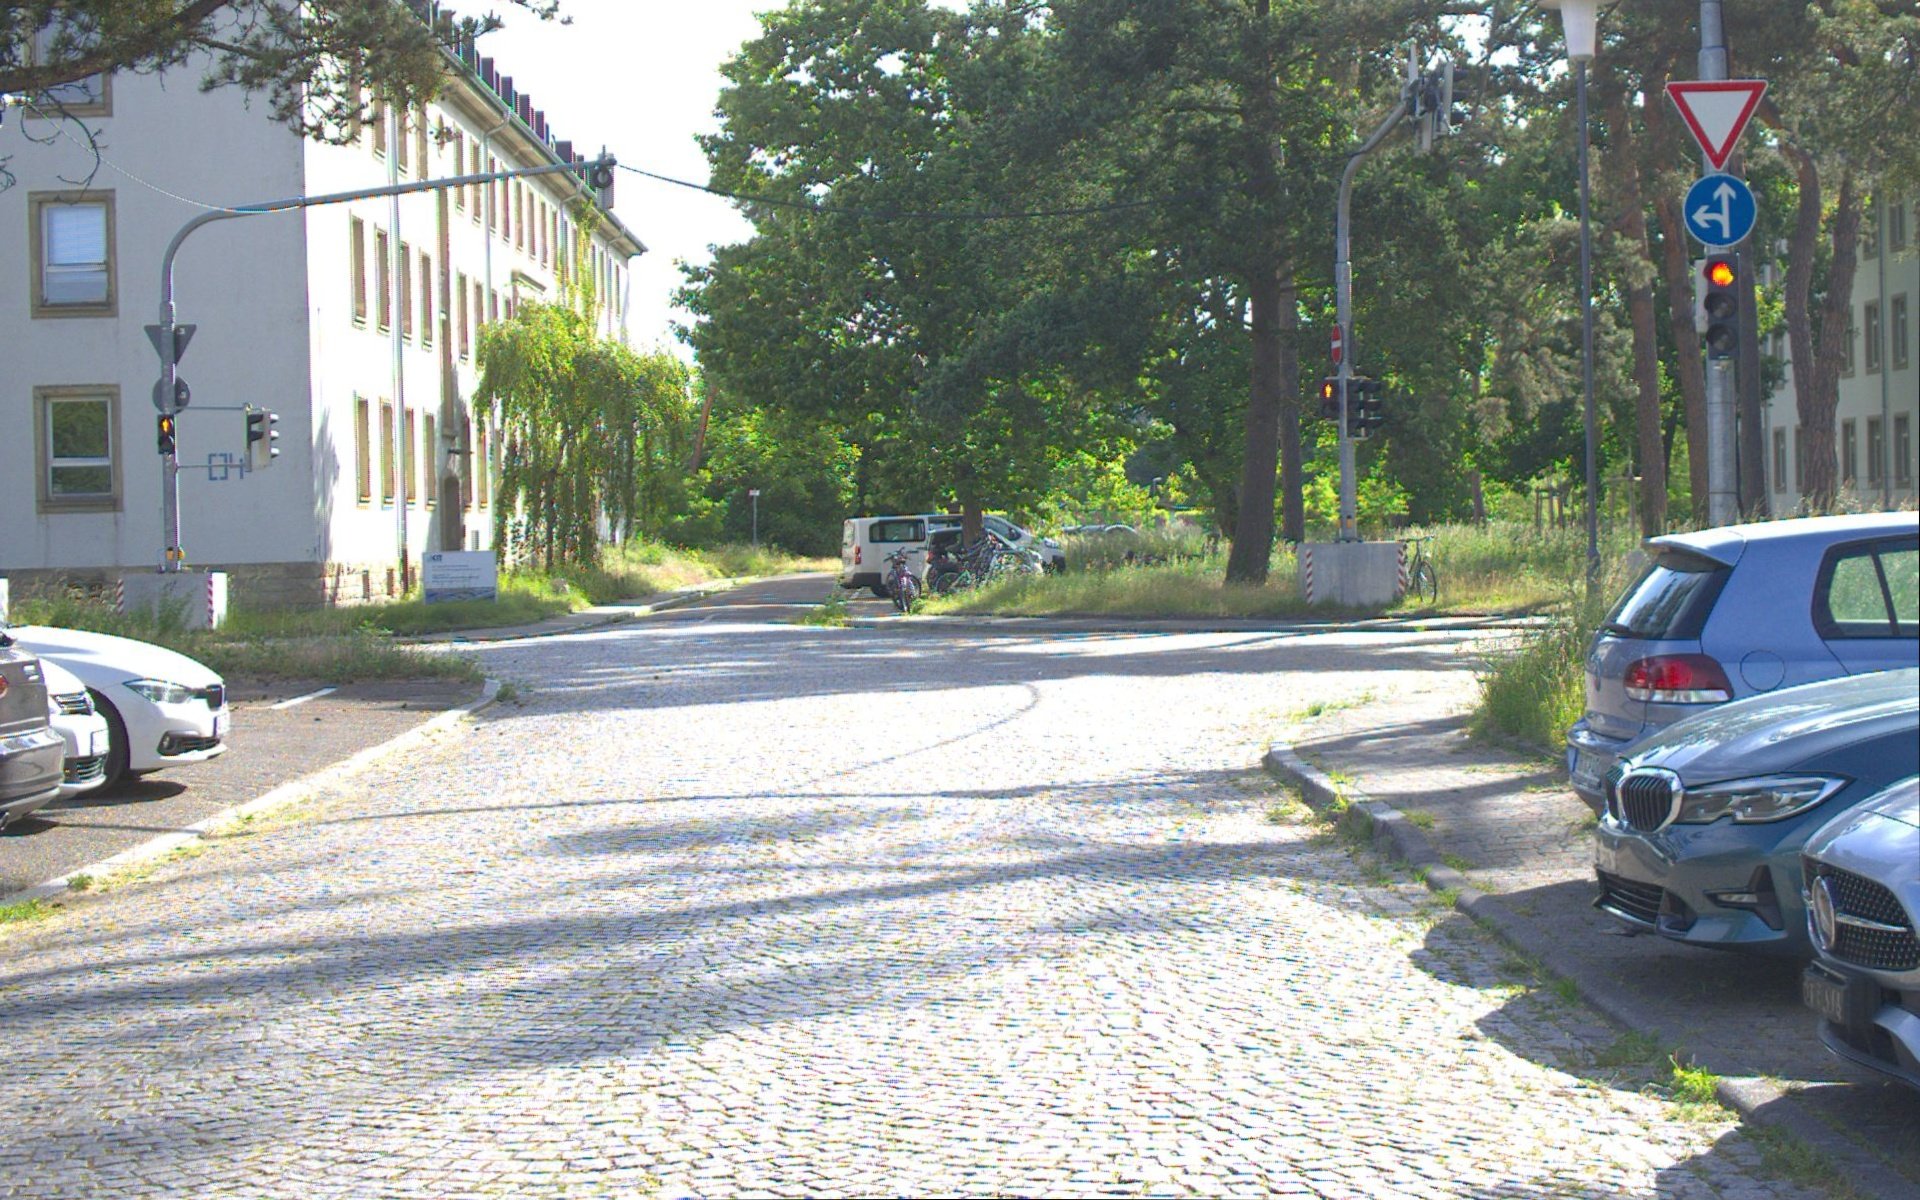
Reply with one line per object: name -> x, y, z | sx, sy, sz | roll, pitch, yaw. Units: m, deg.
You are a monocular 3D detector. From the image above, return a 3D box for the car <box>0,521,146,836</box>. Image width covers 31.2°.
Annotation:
car -> -6.617, 0.353, 18.485 | 4.080, 1.588, 1.886 | 1, 2, -3

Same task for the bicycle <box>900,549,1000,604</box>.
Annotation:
bicycle -> -0.187, -0.456, 66.183 | 1.837, 1.006, 0.636 | 1, 0, -8

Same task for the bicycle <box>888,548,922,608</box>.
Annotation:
bicycle -> -0.949, -0.388, 59.106 | 0.467, 1.006, 1.586 | 1, 1, -4

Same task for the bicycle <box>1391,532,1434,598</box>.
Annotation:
bicycle -> 6.654, -0.516, 50.616 | 0.300, 0.957, 1.586 | 1, 1, -4

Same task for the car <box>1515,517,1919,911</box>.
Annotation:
car -> 4.334, 0.368, 13.849 | 3.882, 1.410, 1.637 | -2, 2, 0

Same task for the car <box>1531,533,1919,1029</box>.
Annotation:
car -> 4.278, 0.456, 11.070 | 4.559, 1.410, 1.637 | -2, 2, 0

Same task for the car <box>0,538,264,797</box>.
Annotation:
car -> -6.556, 0.355, 20.866 | 4.333, 1.463, 1.831 | 1, 2, -3

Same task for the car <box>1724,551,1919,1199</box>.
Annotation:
car -> 4.294, 0.527, 8.354 | 4.432, 1.410, 1.781 | -2, 2, 0

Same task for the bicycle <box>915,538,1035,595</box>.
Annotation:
bicycle -> 0.272, -0.611, 62.713 | 2.109, 1.006, 0.621 | 1, 0, -8

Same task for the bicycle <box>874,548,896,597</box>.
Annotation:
bicycle -> -1.580, -0.588, 72.367 | 0.417, 1.006, 1.483 | 1, 1, 0

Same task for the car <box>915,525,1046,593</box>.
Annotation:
car -> 0.443, -0.913, 77.185 | 2.781, 1.462, 1.671 | 1, 1, -5

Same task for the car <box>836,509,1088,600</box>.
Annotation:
car -> 0.048, -1.071, 80.717 | 5.520, 2.007, 2.001 | 1, 1, -18

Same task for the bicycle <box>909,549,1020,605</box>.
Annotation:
bicycle -> 0.084, -0.431, 64.427 | 2.004, 1.006, 0.632 | 1, 0, -8

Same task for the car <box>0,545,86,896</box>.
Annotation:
car -> -6.154, 0.473, 15.526 | 3.986, 1.475, 1.803 | 1, 2, -3

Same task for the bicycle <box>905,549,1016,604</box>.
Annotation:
bicycle -> -0.001, -0.443, 65.310 | 2.027, 1.006, 0.627 | 1, 0, -8
